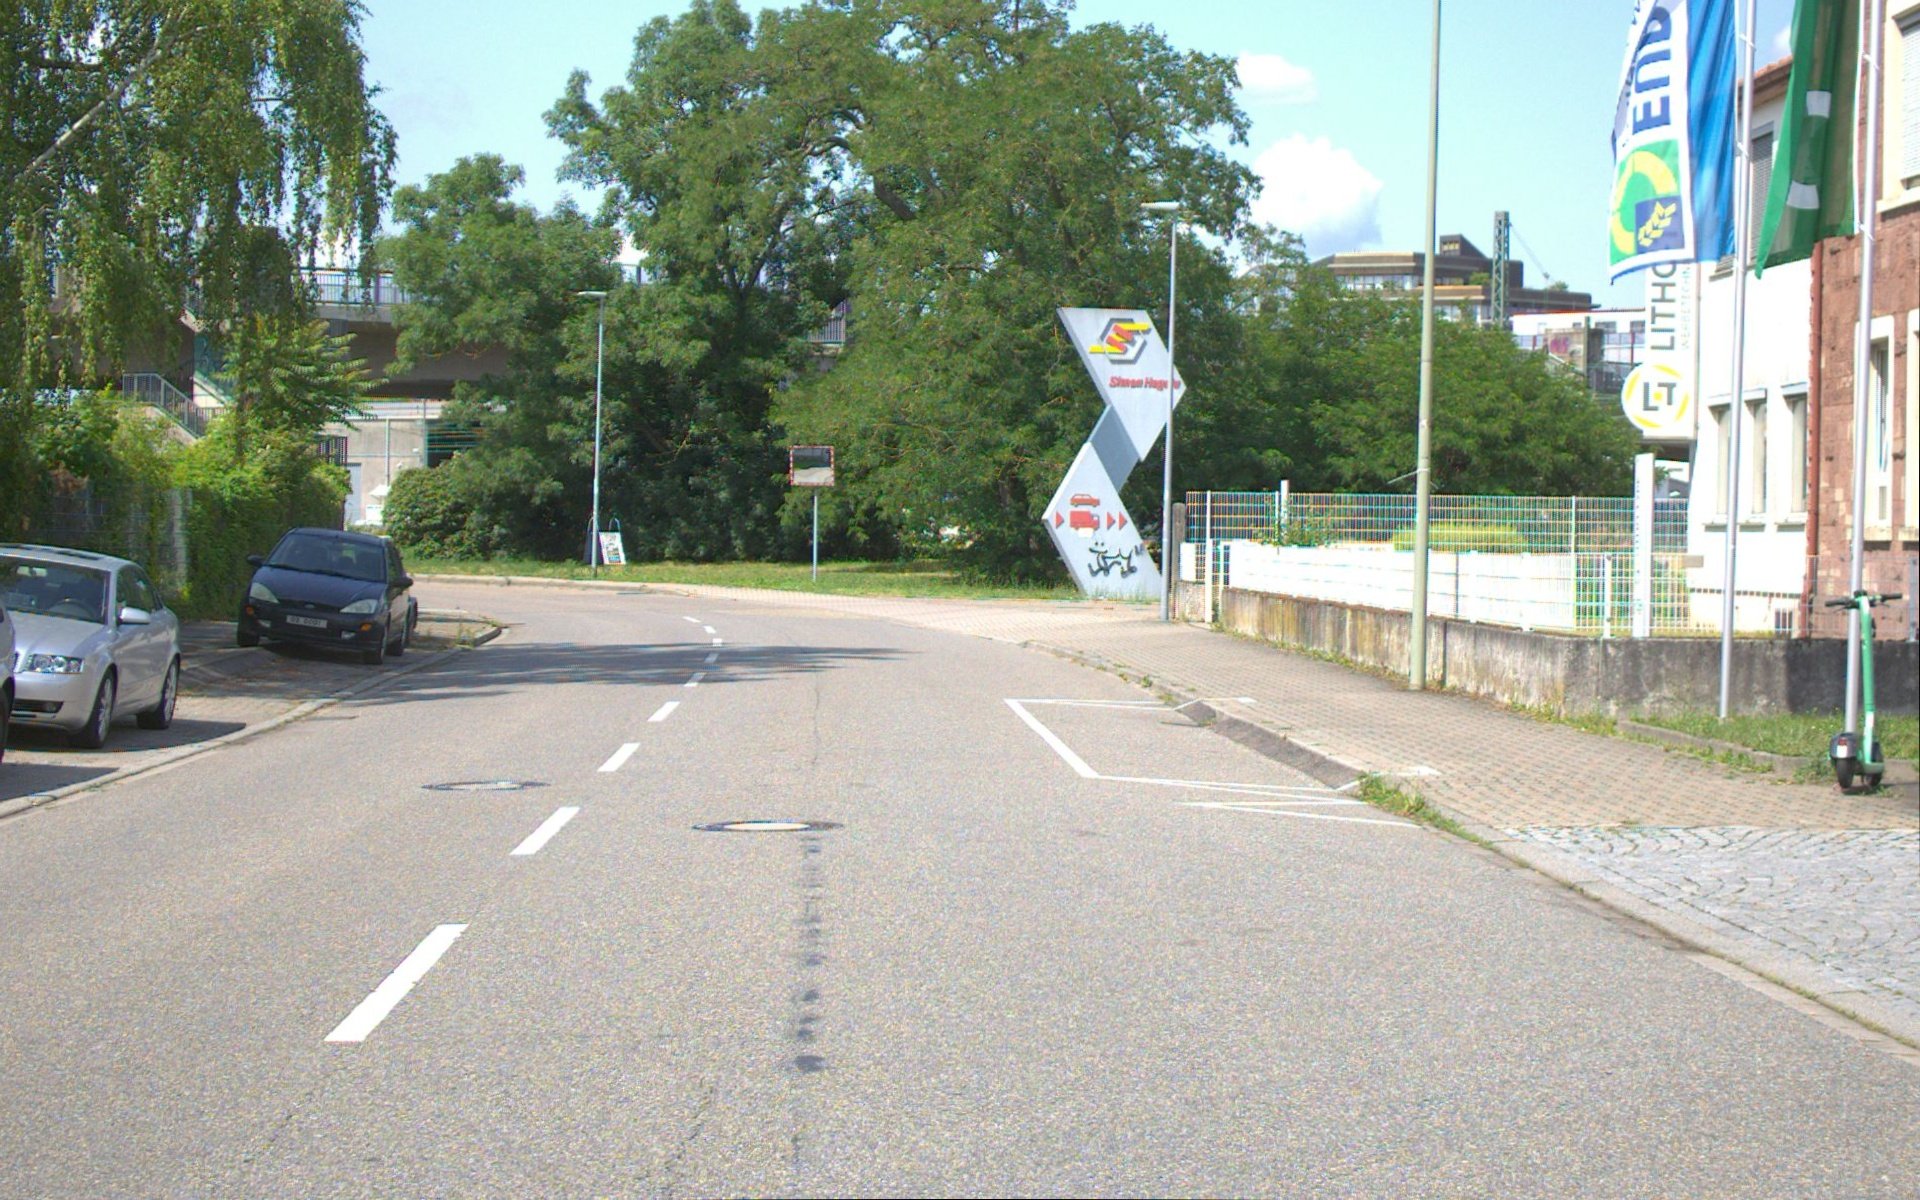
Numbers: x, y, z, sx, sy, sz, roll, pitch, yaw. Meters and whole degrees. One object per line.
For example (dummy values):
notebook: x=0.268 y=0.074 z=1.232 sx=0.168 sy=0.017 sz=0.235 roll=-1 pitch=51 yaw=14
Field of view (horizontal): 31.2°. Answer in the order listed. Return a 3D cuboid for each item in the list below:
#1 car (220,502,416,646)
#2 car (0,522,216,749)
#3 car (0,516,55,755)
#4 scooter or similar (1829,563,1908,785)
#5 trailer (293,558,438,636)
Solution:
car: x=-7.674 y=-0.329 z=41.416 sx=1.682 sy=1.507 sz=4.158 roll=5 pitch=0 yaw=-3
car: x=-7.155 y=0.206 z=27.008 sx=1.724 sy=1.472 sz=4.632 roll=5 pitch=1 yaw=-3
car: x=-6.974 y=0.239 z=21.033 sx=1.794 sy=1.522 sz=4.660 roll=1 pitch=1 yaw=-2
scooter or similar: x=5.439 y=0.437 z=20.594 sx=0.333 sy=1.308 sz=0.366 roll=1 pitch=1 yaw=-2
trailer: x=-7.822 y=-0.055 z=45.398 sx=1.464 sy=0.848 sz=2.467 roll=6 pitch=1 yaw=-1
